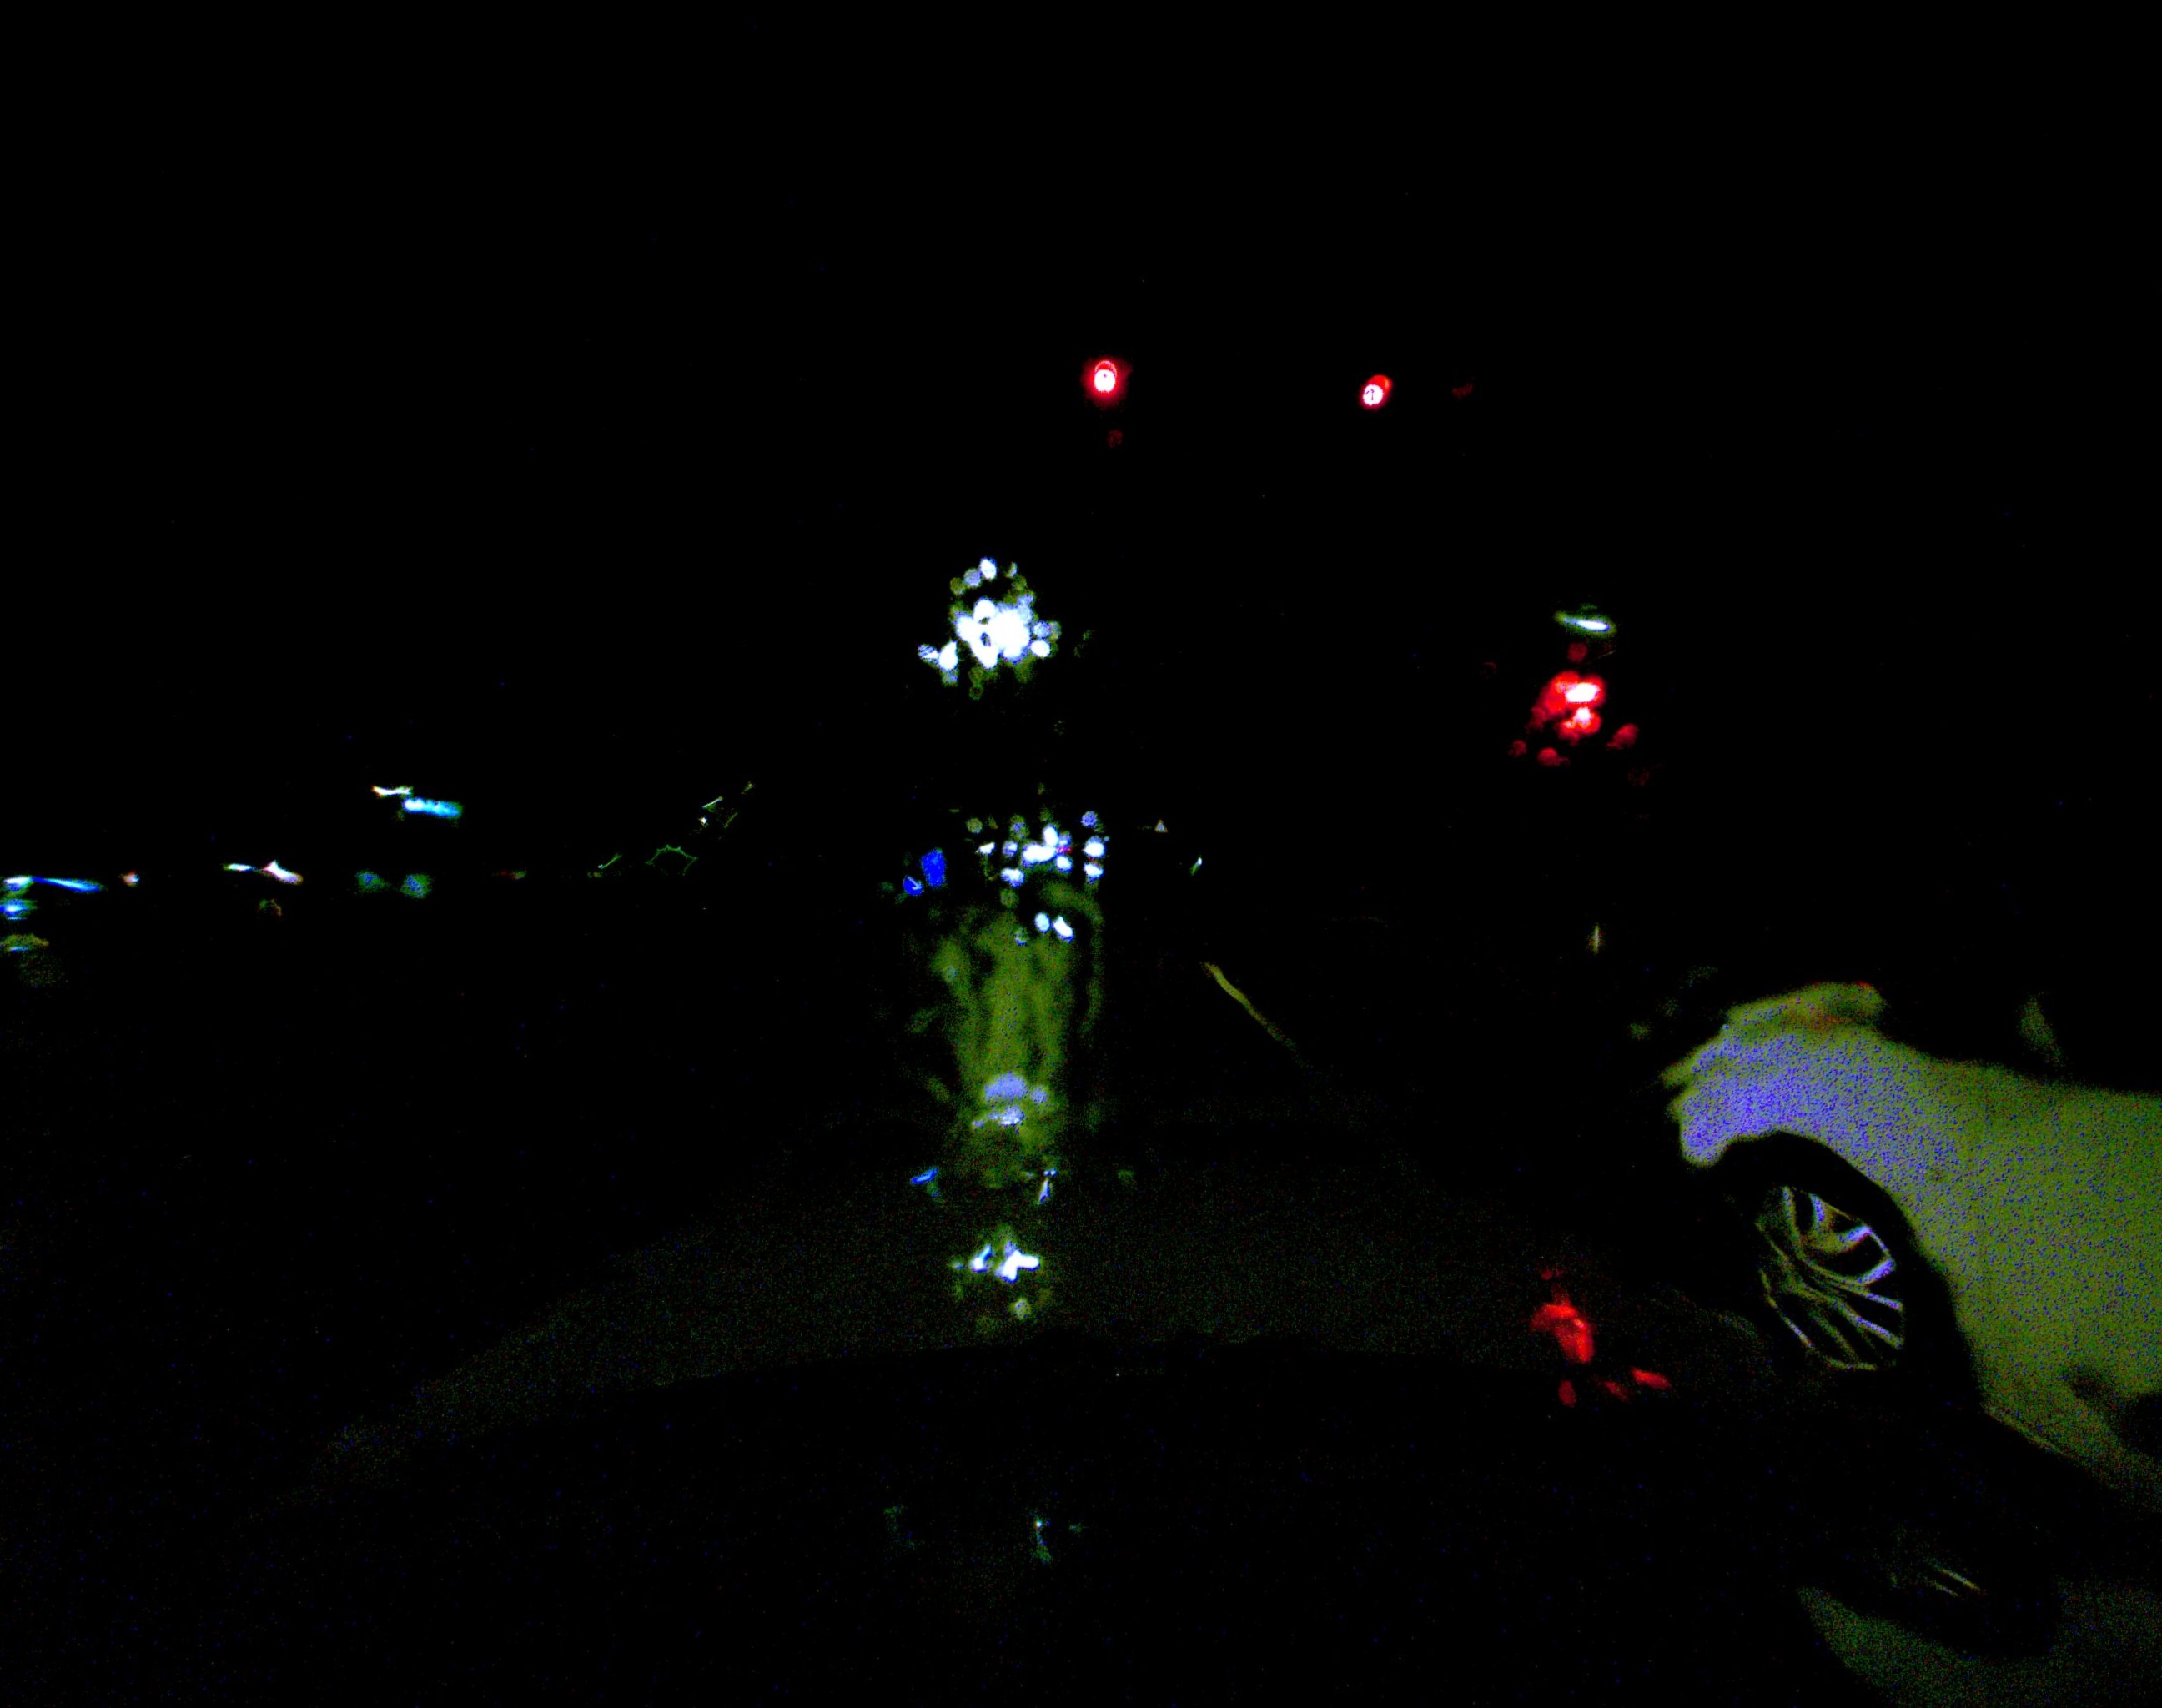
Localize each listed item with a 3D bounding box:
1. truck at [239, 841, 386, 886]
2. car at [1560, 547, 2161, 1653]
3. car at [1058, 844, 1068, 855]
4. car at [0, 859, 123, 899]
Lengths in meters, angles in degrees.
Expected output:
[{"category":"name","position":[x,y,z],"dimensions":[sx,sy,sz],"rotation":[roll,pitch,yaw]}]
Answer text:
[{"category":"truck","position":[-41.442,0.491,44.185],"dimensions":[1.985,2.271,6.027],"rotation":[0,0,4]},{"category":"car","position":[2.865,0.442,1.033],"dimensions":[1.786,2.022,4.578],"rotation":[-1,0,0]},{"category":"car","position":[-3.176,-0.804,145.545],"dimensions":[1.786,2.022,4.578],"rotation":[-1,0,0]},{"category":"car","position":[-41.572,0.950,32.746],"dimensions":[1.721,1.519,3.988],"rotation":[0,0,-9]}]
